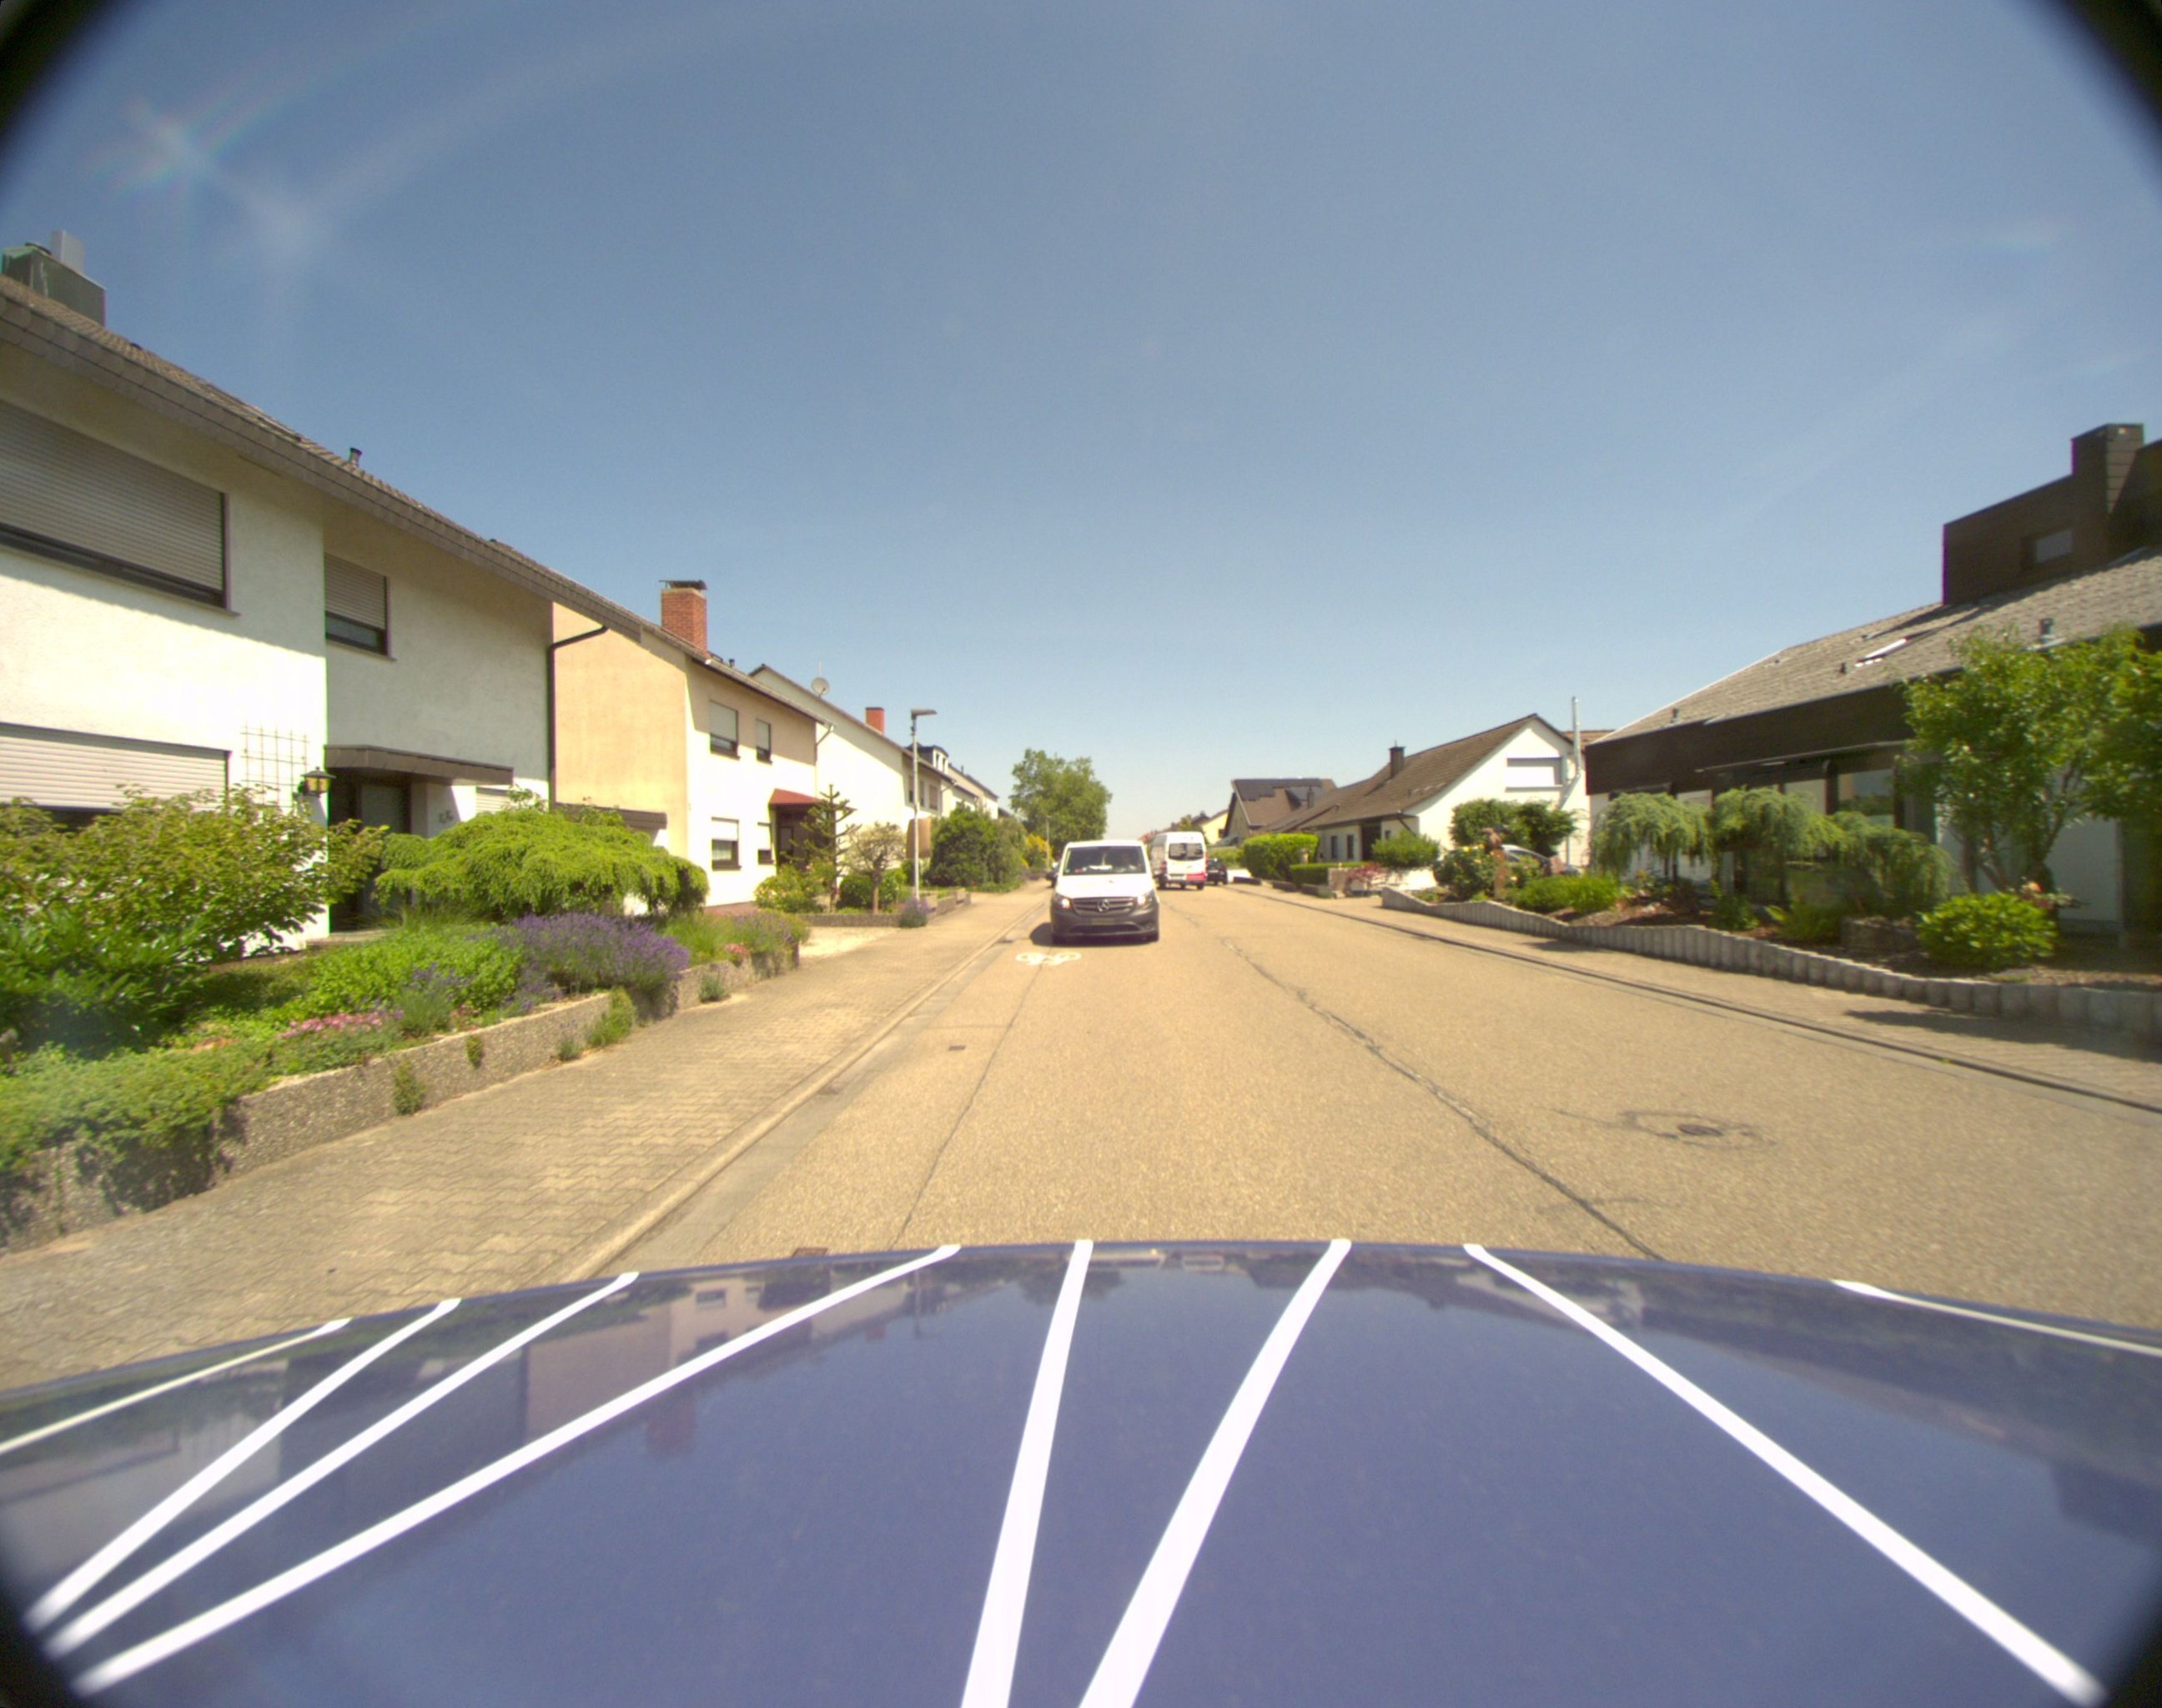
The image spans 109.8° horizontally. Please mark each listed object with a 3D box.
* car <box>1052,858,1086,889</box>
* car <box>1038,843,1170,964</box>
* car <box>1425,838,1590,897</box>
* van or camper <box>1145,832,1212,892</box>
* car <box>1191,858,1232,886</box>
[{"bbox_3d":[-0.578,0.974,39.948,1.564,1.455,4.693,-1,0,1],"label":"car"},{"bbox_3d":[0.405,0.745,14.275,2.018,1.846,5.068,0,1,1],"label":"car"},{"bbox_3d":[13.028,0.399,23.385,3.997,1.674,1.902,-1,0,0],"label":"car"},{"bbox_3d":[4.426,0.344,35.293,2.070,2.576,4.600,0,0,-6],"label":"van or camper"},{"bbox_3d":[7.069,0.946,41.376,1.807,1.390,4.001,-1,0,4],"label":"car"}]
